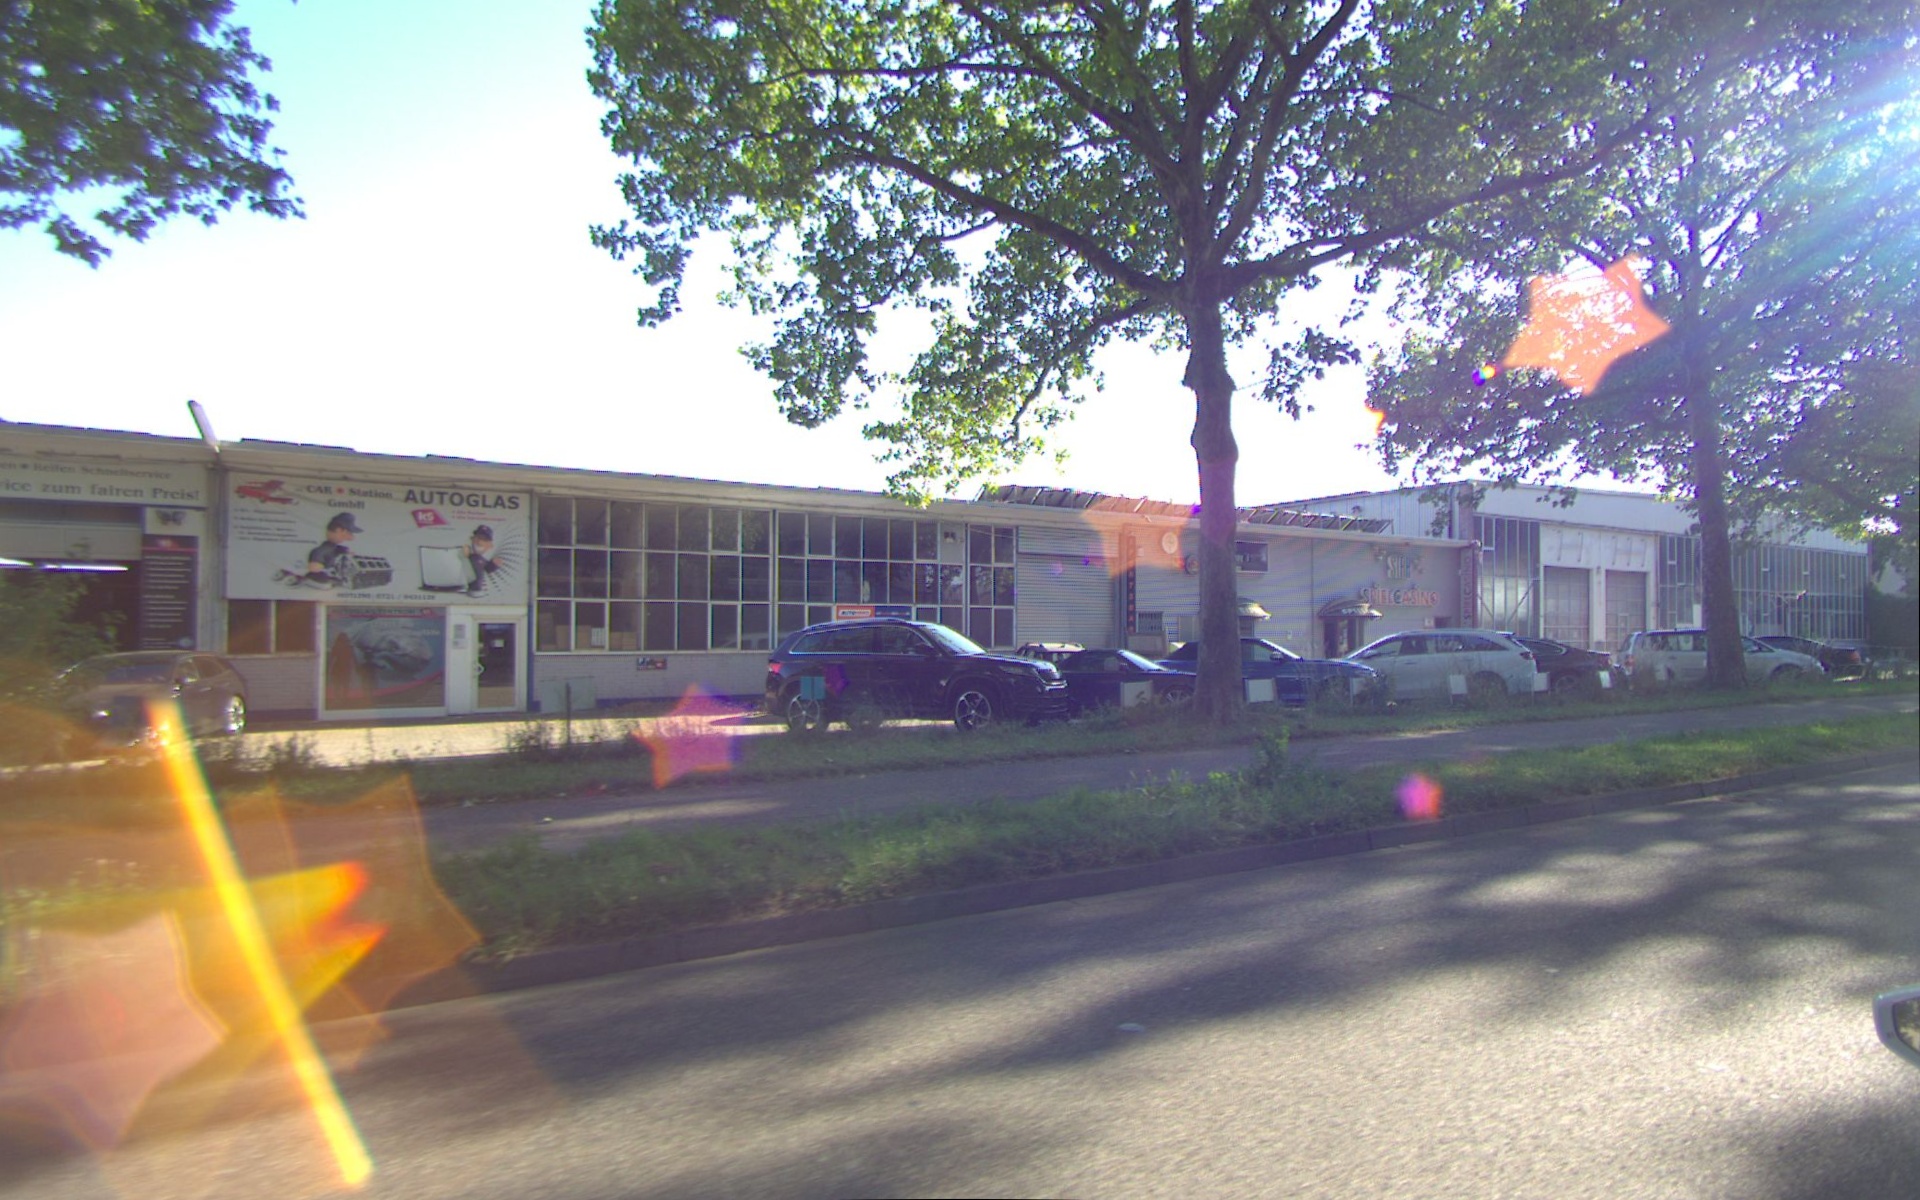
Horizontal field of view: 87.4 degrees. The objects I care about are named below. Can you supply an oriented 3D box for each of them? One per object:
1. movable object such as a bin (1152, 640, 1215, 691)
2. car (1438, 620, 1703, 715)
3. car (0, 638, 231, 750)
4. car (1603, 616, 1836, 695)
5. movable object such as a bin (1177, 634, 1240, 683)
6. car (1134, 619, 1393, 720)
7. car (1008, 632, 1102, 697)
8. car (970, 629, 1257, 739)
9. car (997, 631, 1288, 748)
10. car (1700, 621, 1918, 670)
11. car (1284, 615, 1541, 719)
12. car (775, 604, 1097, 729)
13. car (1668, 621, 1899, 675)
[{"bbox_3d":[6.777,1.979,30.452,1.556,1.450,1.050,2,0,-33],"label":"movable object such as a bin"},{"bbox_3d":[12.308,1.312,20.562,4.176,1.651,2.001,2,0,13],"label":"car"},{"bbox_3d":[-13.497,1.370,15.837,1.969,1.338,4.455,2,0,-19],"label":"car"},{"bbox_3d":[19.471,1.382,26.013,4.398,1.753,1.999,2,0,23],"label":"car"},{"bbox_3d":[7.783,1.837,31.474,1.610,1.450,1.050,2,0,-33],"label":"movable object such as a bin"},{"bbox_3d":[5.398,1.159,17.906,4.180,1.471,1.999,2,0,22],"label":"car"},{"bbox_3d":[2.374,1.615,25.880,1.677,1.425,3.294,2,0,-7],"label":"car"},{"bbox_3d":[2.477,1.248,16.091,4.180,1.400,1.999,2,0,22],"label":"car"},{"bbox_3d":[2.915,1.324,15.934,4.180,1.471,1.999,2,0,22],"label":"car"},{"bbox_3d":[24.513,1.281,29.225,4.396,1.323,2.000,0,-1,19],"label":"car"},{"bbox_3d":[8.532,1.214,19.363,4.176,1.722,2.001,2,0,14],"label":"car"},{"bbox_3d":[-0.329,0.871,14.562,4.180,1.471,1.999,2,0,22],"label":"car"},{"bbox_3d":[22.134,1.262,27.237,4.396,1.323,2.000,0,-1,19],"label":"car"}]
